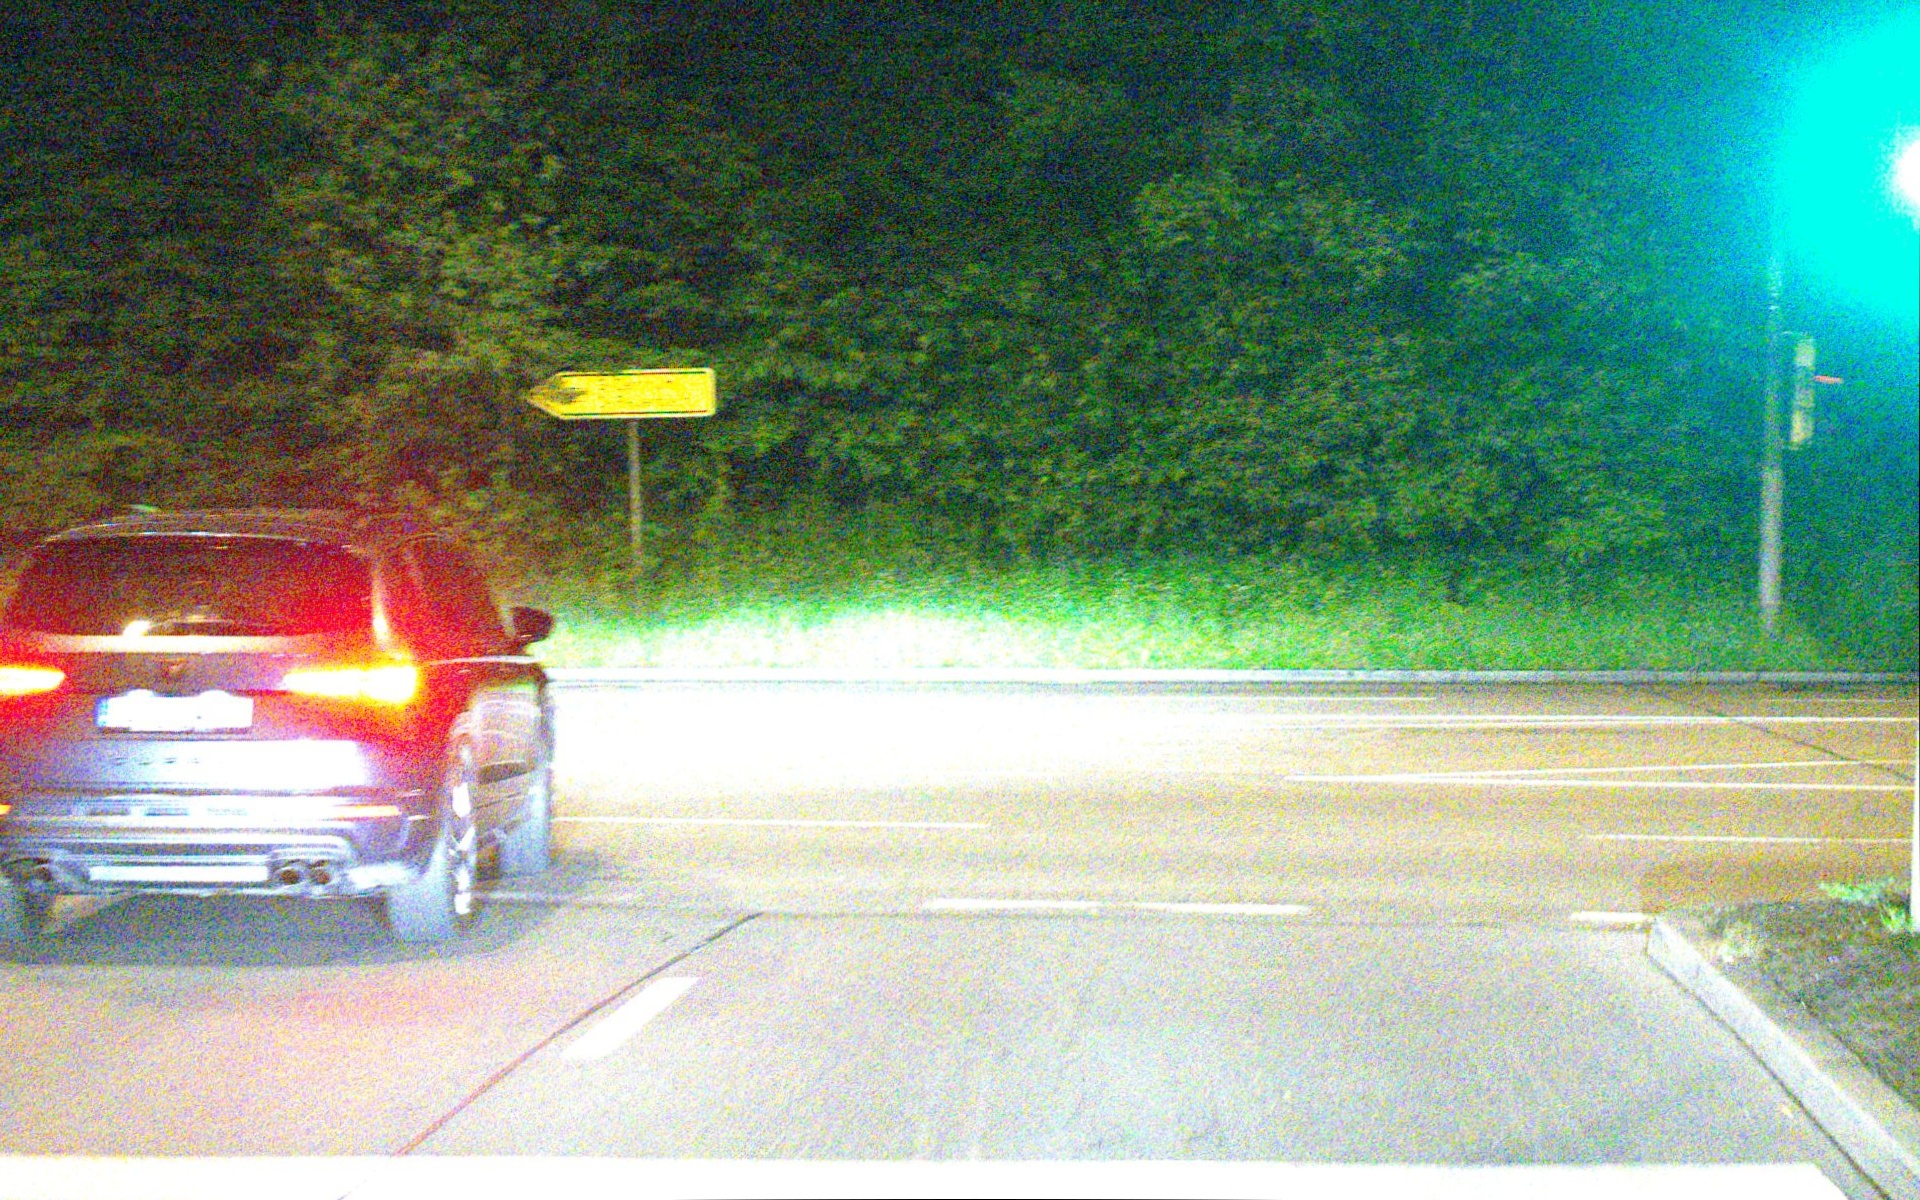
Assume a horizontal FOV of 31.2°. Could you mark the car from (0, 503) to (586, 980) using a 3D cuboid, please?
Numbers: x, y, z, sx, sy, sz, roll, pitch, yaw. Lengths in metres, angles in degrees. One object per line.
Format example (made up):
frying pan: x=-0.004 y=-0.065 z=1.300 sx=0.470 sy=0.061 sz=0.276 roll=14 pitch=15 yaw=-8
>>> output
car: x=-2.663 y=0.430 z=13.547 sx=1.852 sy=1.577 sz=4.007 roll=1 pitch=1 yaw=1
